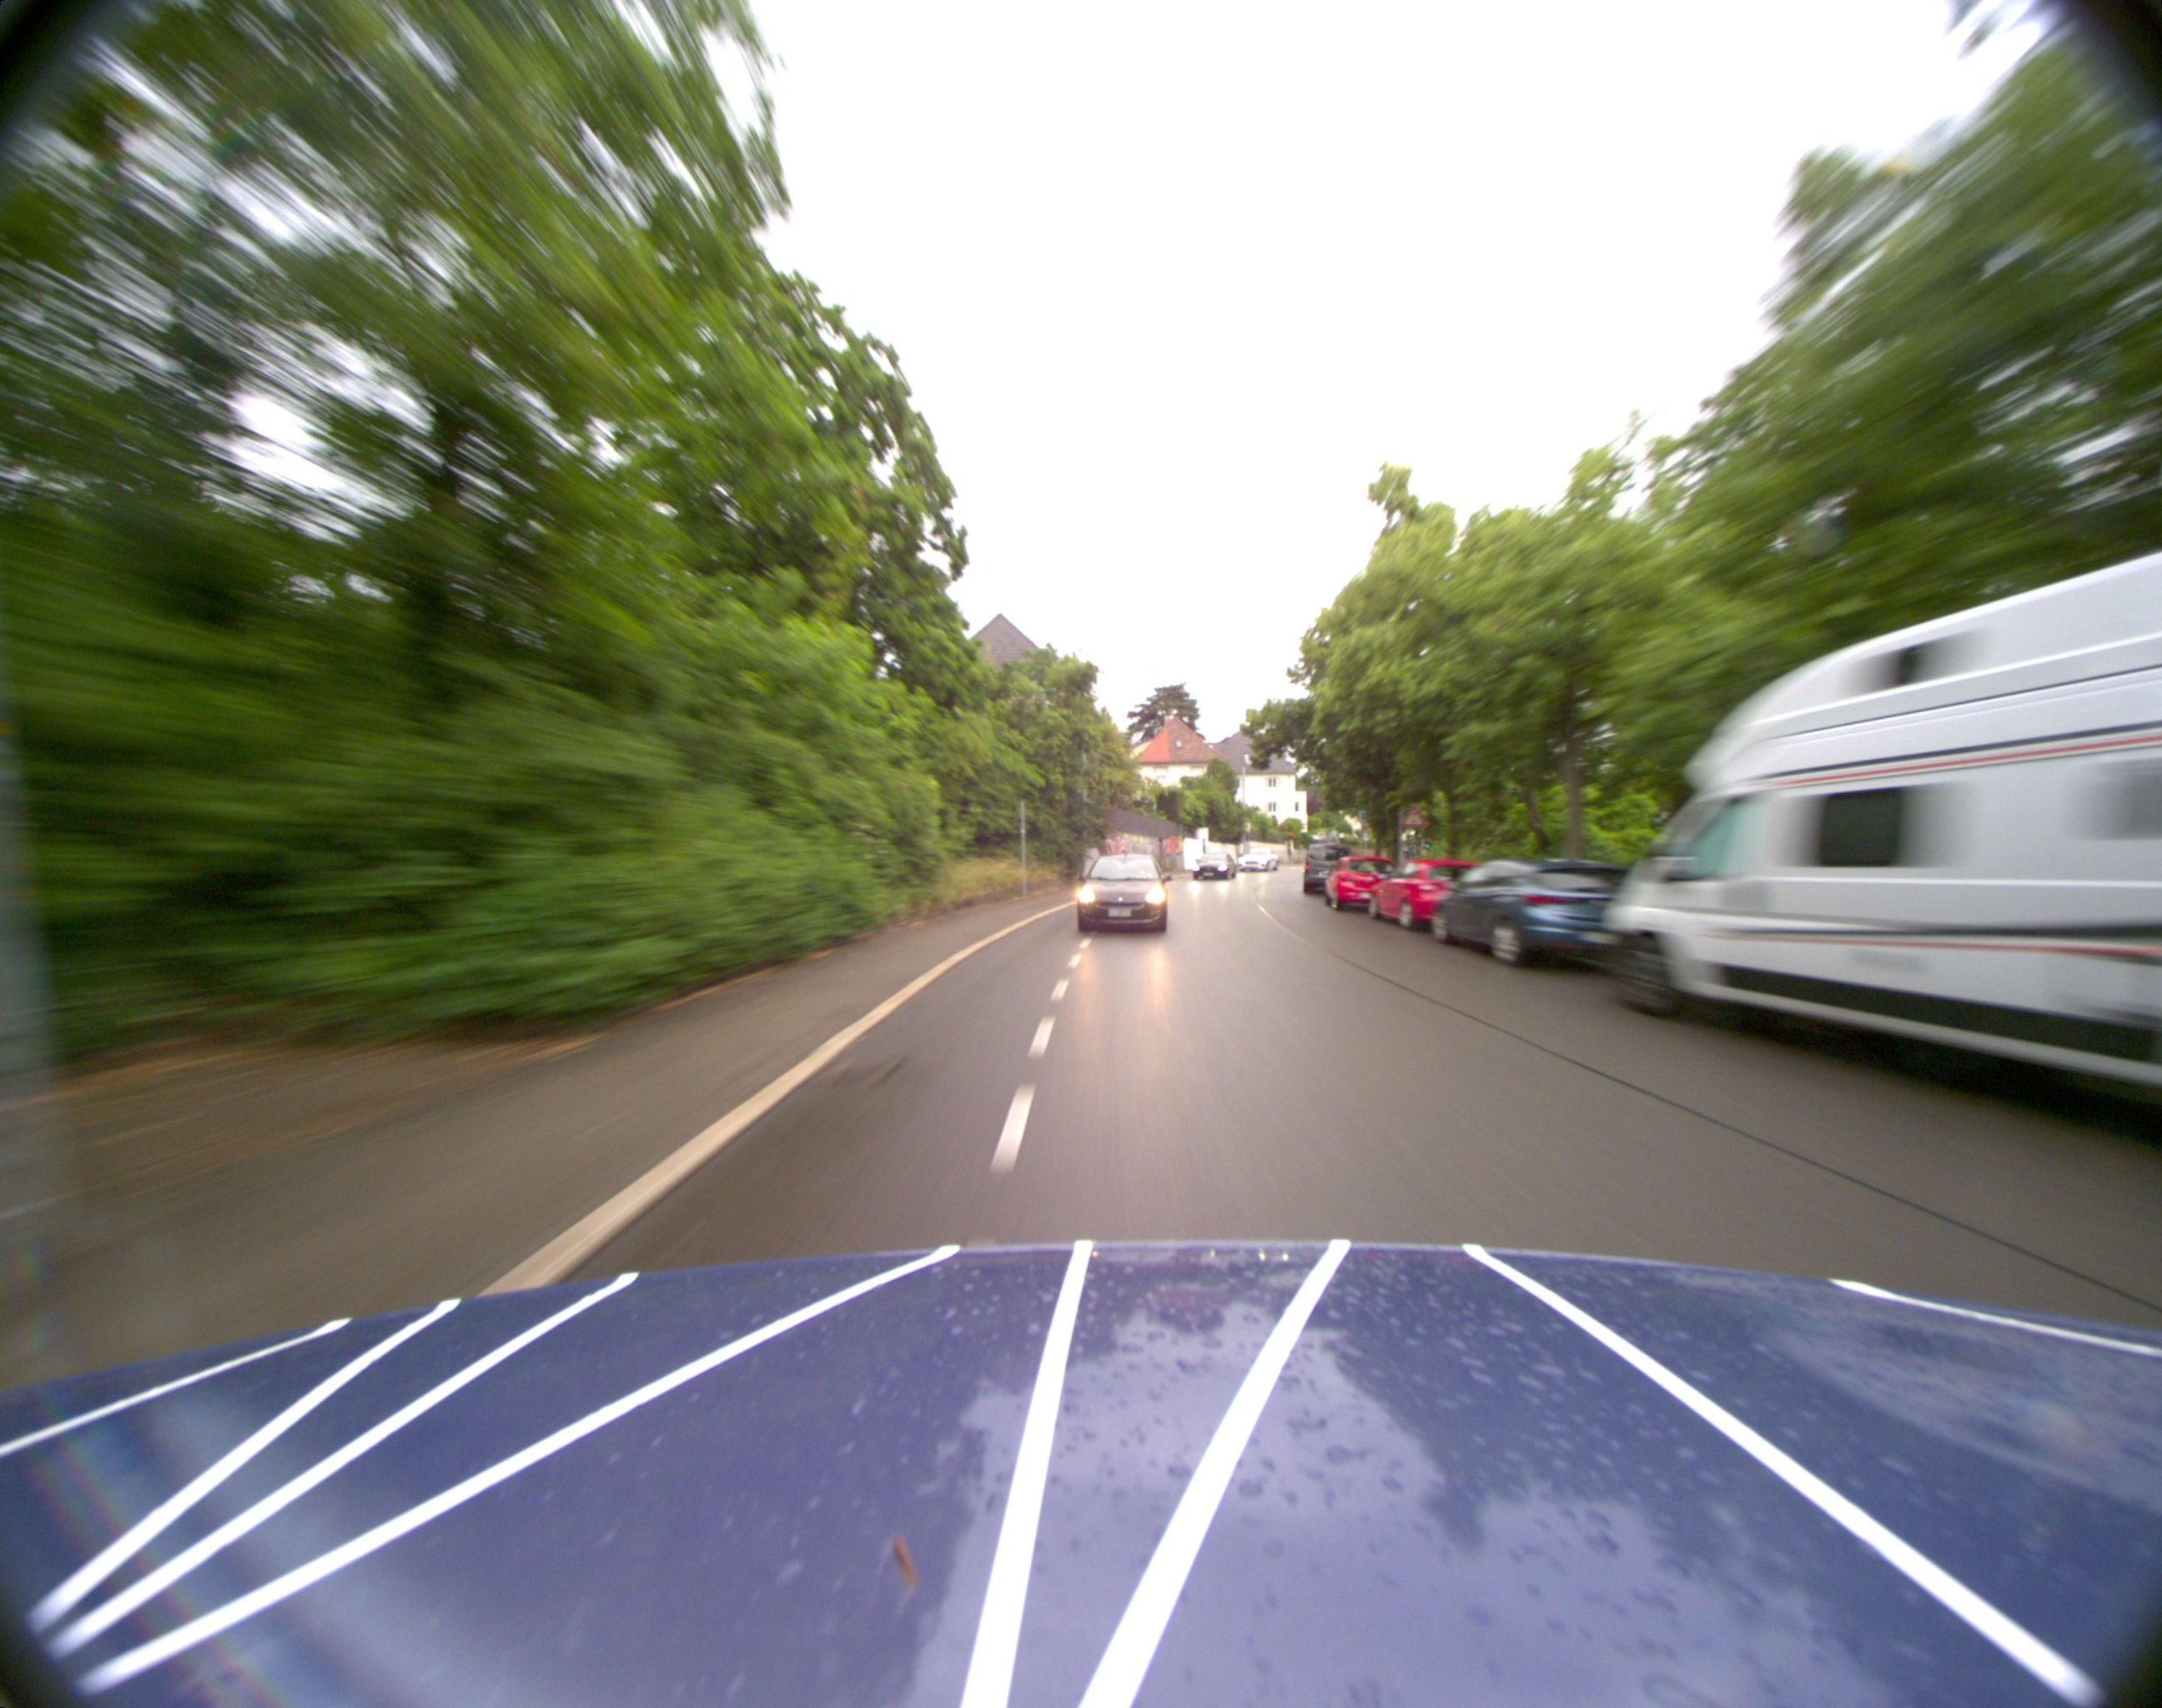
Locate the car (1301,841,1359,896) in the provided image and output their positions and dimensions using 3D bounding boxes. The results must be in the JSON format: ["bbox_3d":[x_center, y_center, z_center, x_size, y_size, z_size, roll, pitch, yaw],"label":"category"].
[{"bbox_3d":[10.116,0.542,31.113,1.956,1.956,5.008,4,1,17],"label":"car"}]

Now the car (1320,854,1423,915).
[{"bbox_3d":[8.141,0.776,21.721,1.957,1.453,4.579,3,1,11],"label":"car"}]

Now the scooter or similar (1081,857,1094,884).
[{"bbox_3d":[0.290,0.733,33.839,0.346,1.111,1.423,4,2,7],"label":"scooter or similar"}]

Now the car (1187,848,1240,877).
[{"bbox_3d":[7.203,0.415,40.948,2.027,1.454,4.006,0,1,22],"label":"car"}]

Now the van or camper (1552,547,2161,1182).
[{"bbox_3d":[6.373,0.039,4.899,2.512,3.009,6.560,1,1,0],"label":"van or camper"}]

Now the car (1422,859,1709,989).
[{"bbox_3d":[6.699,0.842,11.160,1.957,1.400,4.210,3,1,9],"label":"car"}]

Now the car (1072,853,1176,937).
[{"bbox_3d":[0.908,0.730,15.700,1.803,1.418,4.383,-1,1,4],"label":"car"}]

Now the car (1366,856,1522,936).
[{"bbox_3d":[7.578,0.797,16.264,1.958,1.400,3.546,3,1,8],"label":"car"}]

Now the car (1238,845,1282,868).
[{"bbox_3d":[13.074,0.161,55.285,2.026,1.619,4.236,0,1,28],"label":"car"}]
